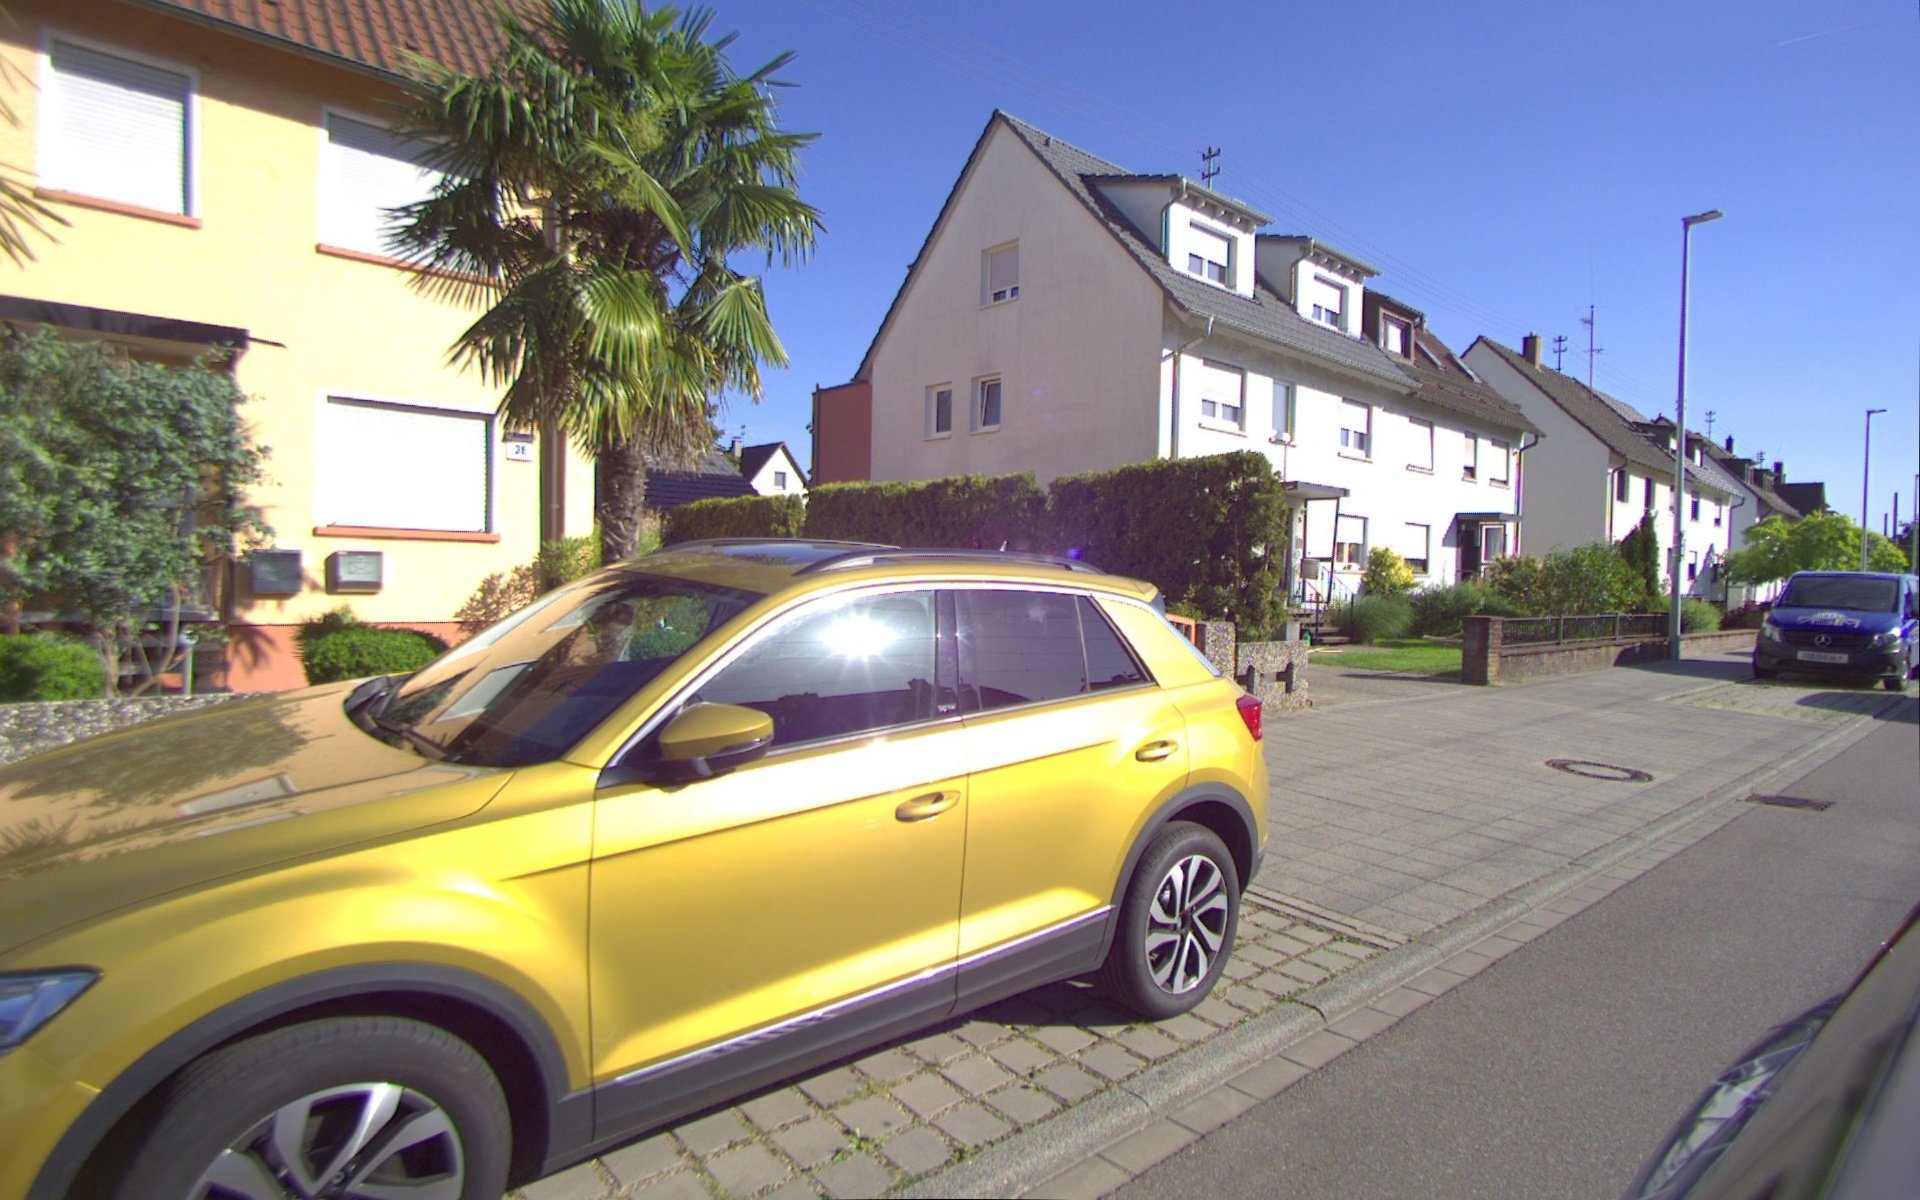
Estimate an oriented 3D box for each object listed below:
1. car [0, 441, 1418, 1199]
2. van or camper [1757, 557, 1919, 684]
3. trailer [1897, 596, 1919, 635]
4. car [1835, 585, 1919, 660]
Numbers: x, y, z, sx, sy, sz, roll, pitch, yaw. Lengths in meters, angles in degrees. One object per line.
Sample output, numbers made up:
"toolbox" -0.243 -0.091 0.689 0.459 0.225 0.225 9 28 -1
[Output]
"car" -0.467 0.496 3.455 4.840 1.578 1.809 -1 3 -41
"van or camper" 15.767 0.241 17.691 5.488 1.869 1.952 -1 3 -42
"trailer" 32.335 0.544 33.027 6.332 1.144 2.274 0 5 -45
"car" 20.817 0.439 22.451 1.731 1.476 5.200 3 2 45
